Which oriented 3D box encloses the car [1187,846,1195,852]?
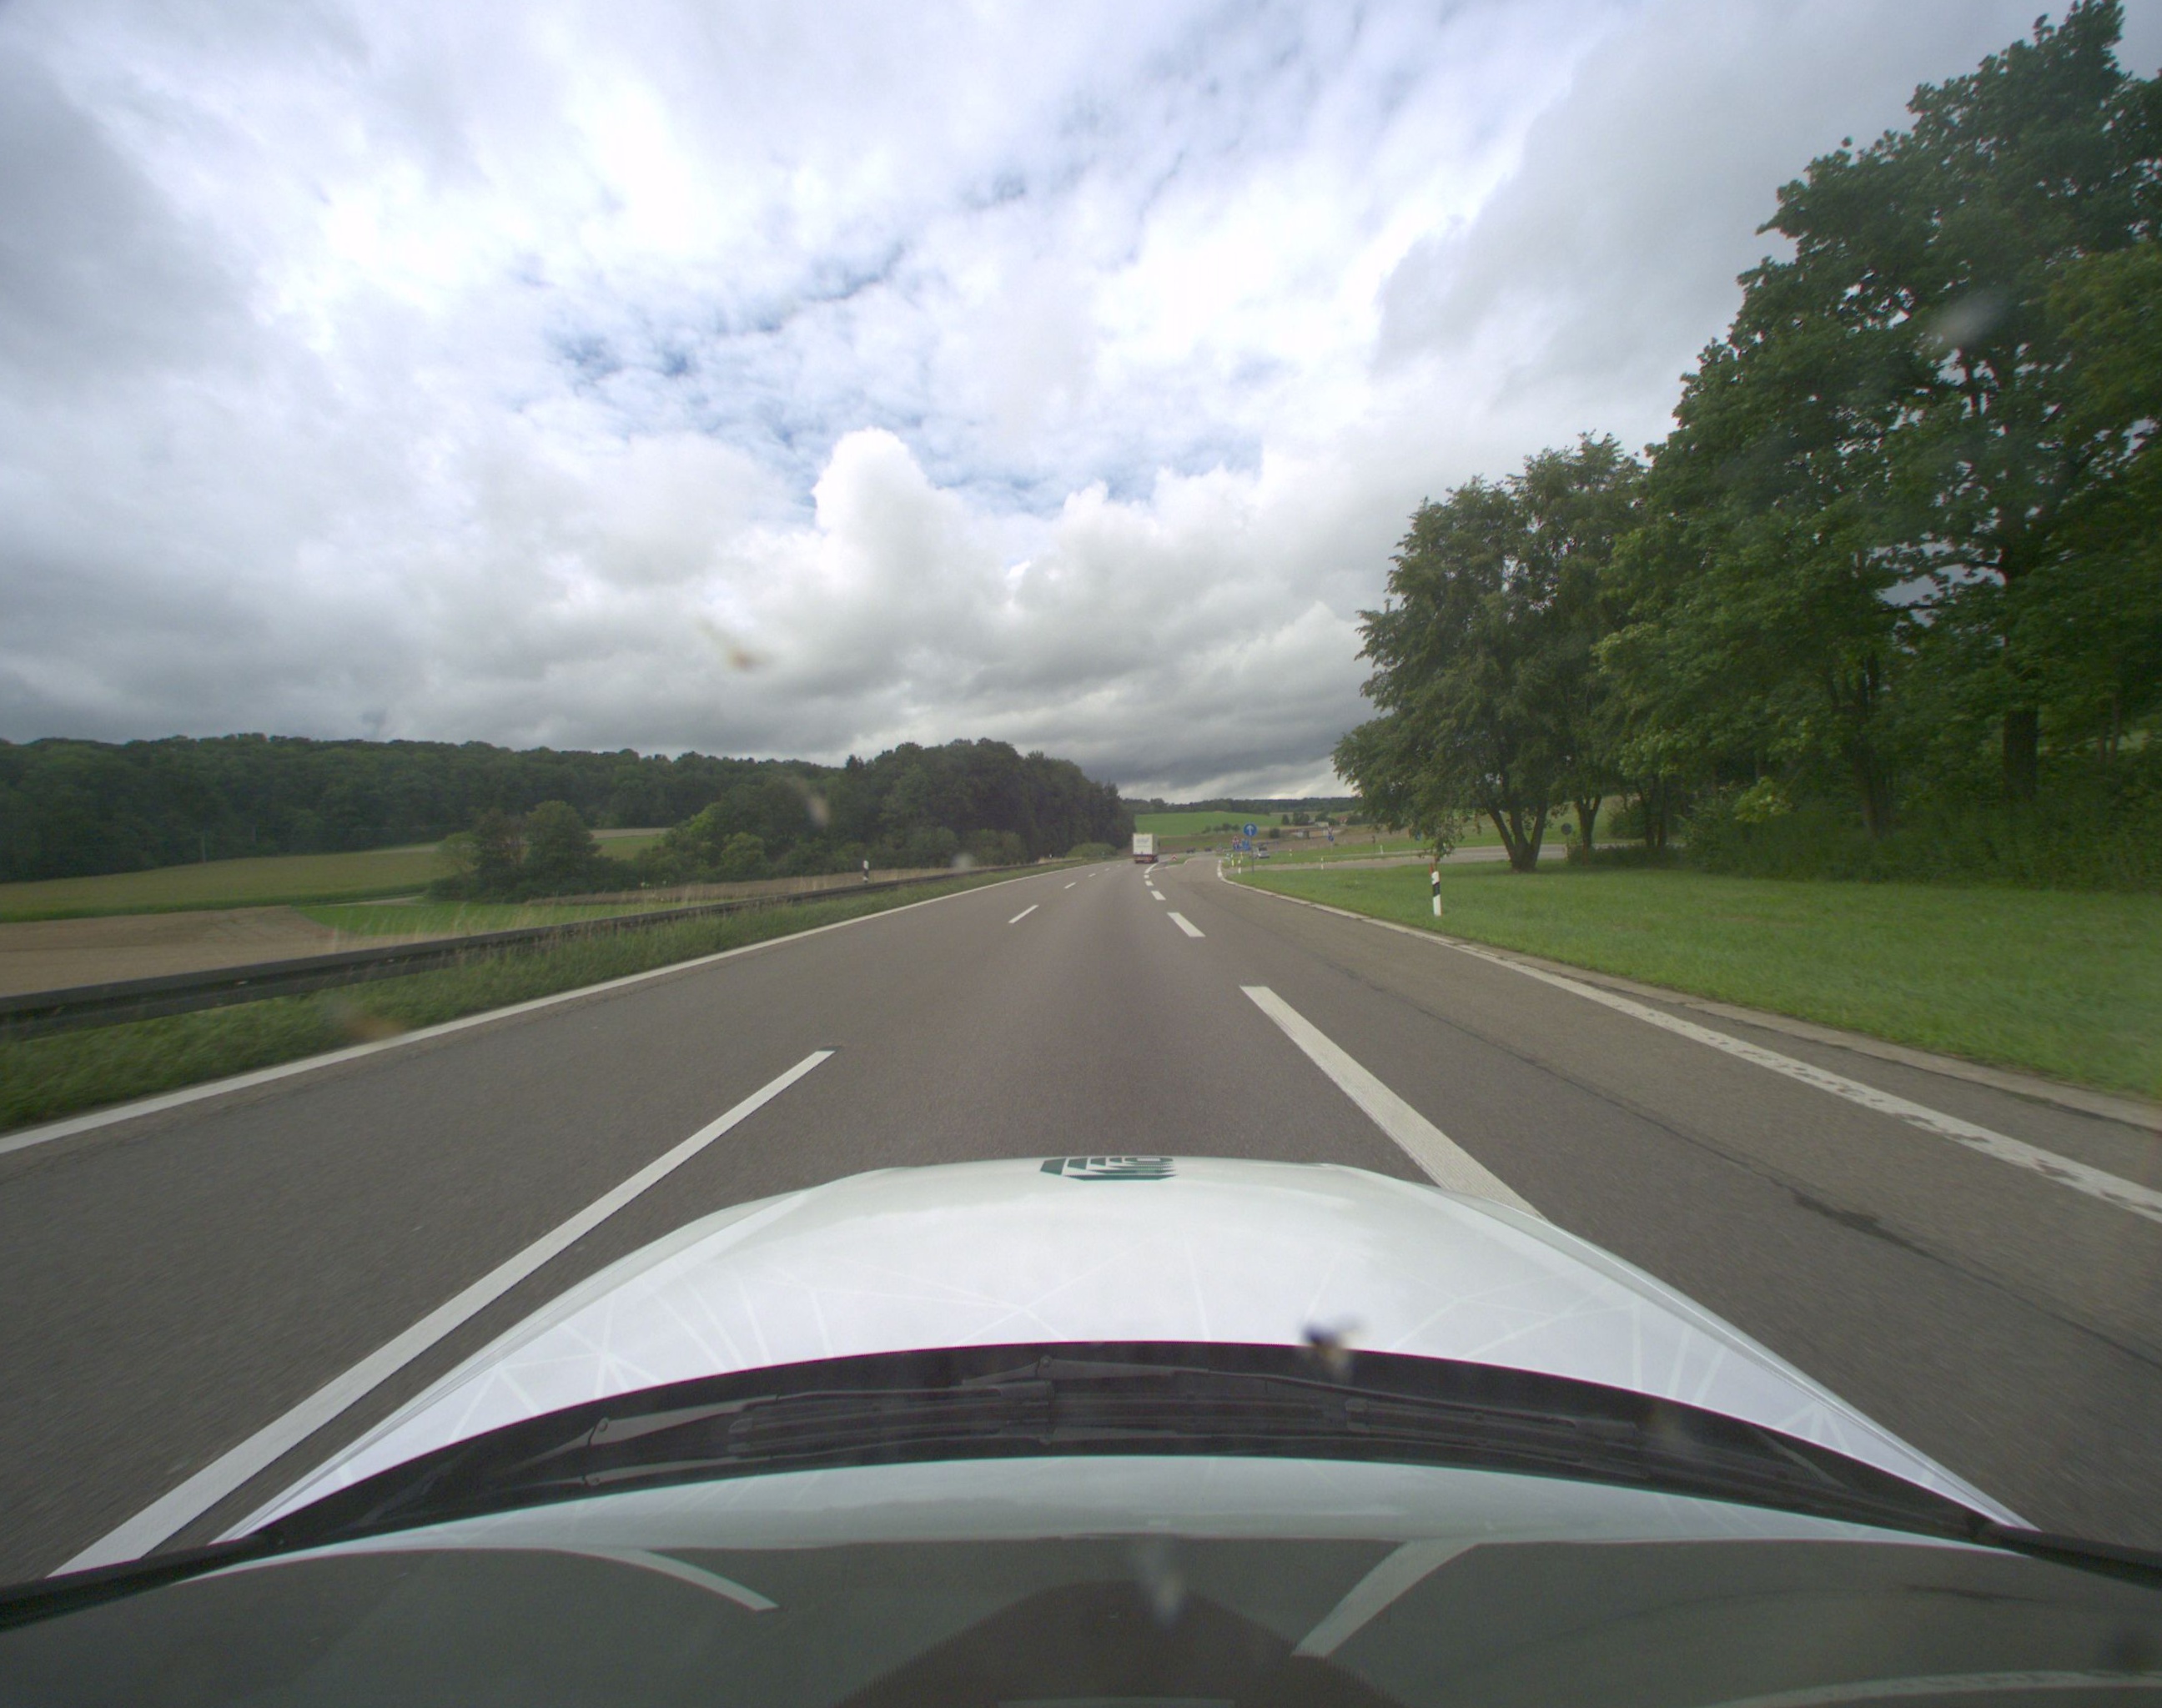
[{"bbox_3d":[33.529,-1.468,248.148,1.890,1.795,4.012,-1,-2,11],"label":"car"}]

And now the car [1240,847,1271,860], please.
[{"bbox_3d":[22.388,-0.068,104.561,1.787,1.552,3.966,-2,0,-26],"label":"car"}]

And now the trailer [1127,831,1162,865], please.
[{"bbox_3d":[8.871,-0.801,111.812,3.784,4.174,14.843,-1,0,8],"label":"trailer"}]
